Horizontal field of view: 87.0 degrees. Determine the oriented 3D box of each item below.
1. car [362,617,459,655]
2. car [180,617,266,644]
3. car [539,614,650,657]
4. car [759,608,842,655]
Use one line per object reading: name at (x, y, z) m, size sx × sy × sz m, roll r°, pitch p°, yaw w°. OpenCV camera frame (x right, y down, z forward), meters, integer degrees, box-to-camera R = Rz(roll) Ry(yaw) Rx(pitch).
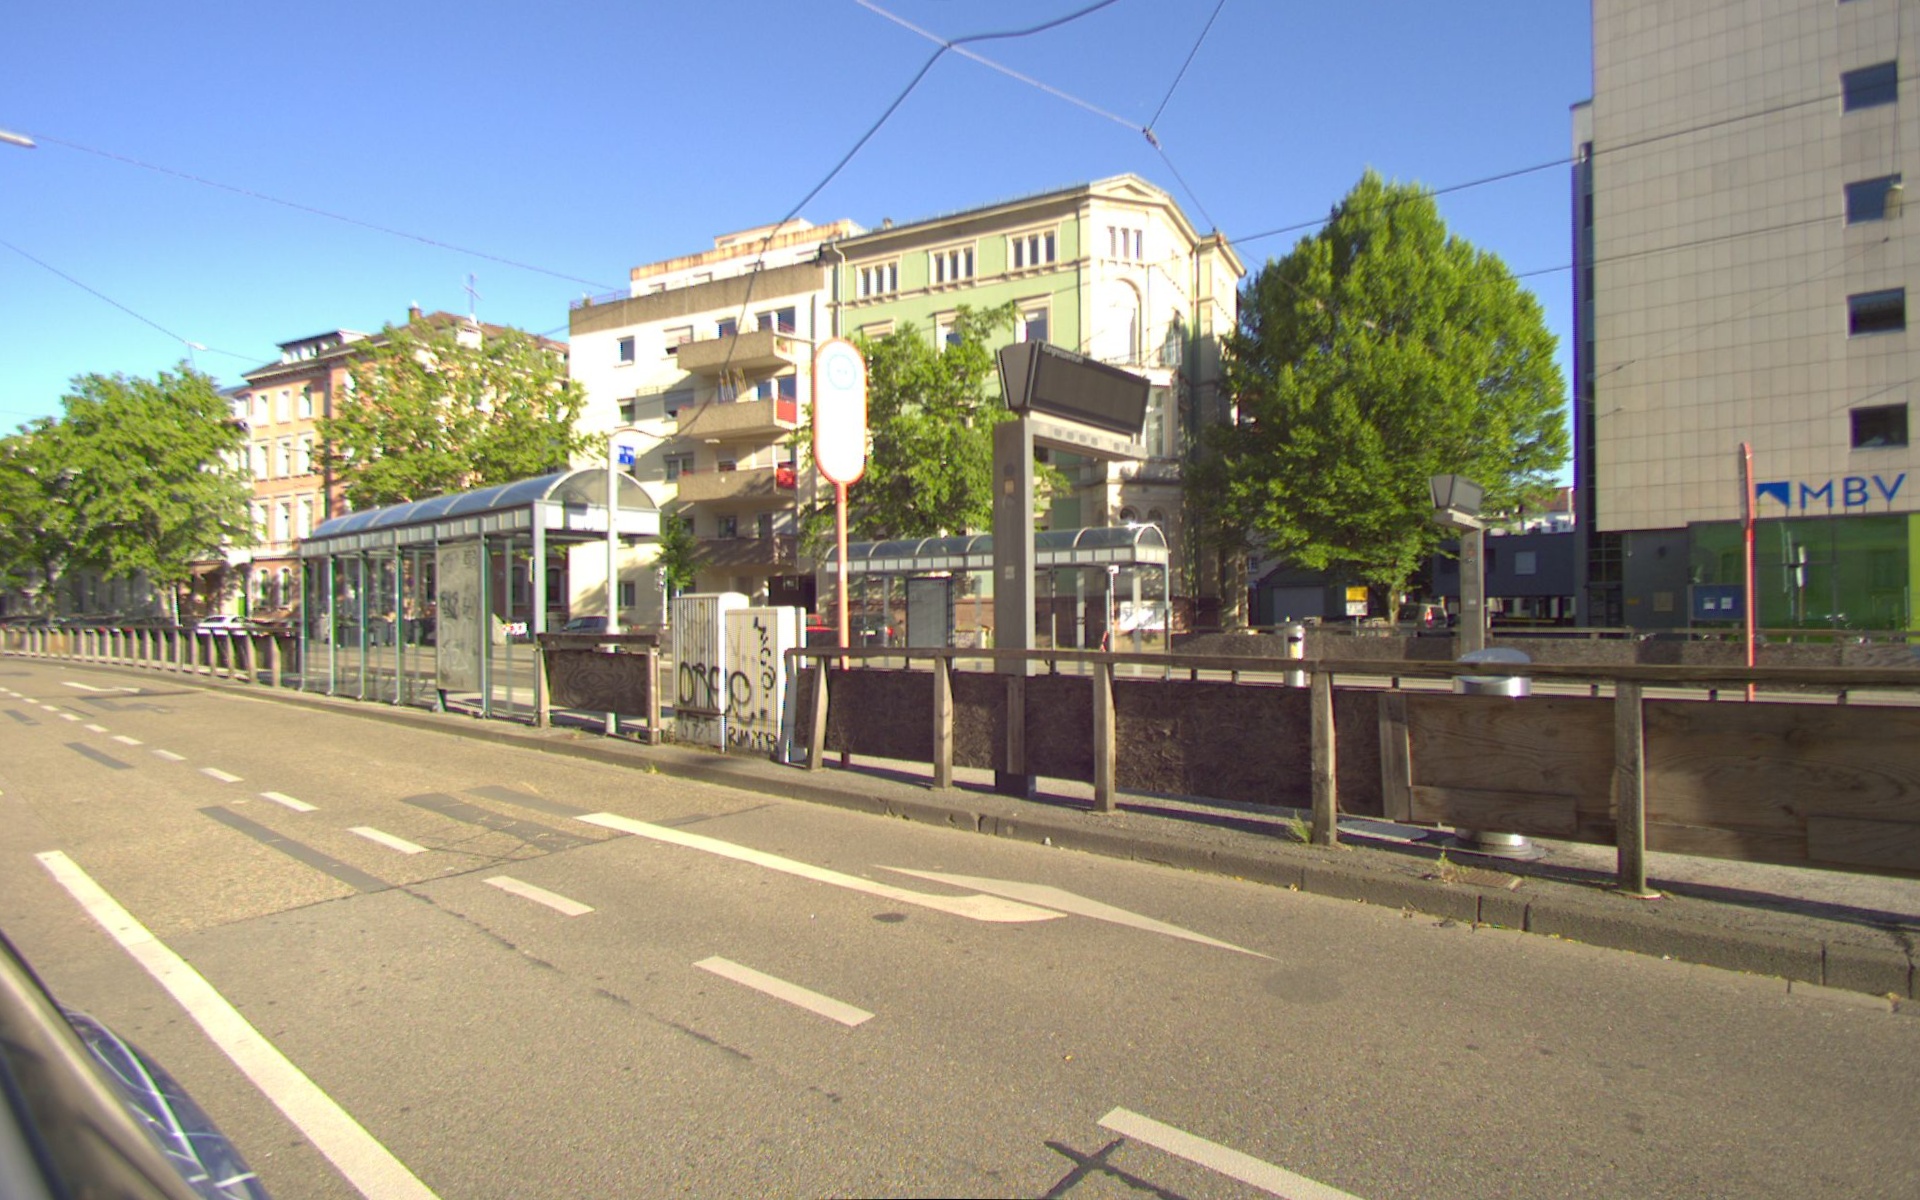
car at (-23.598, 1.528, 43.421) m, size 3.987 × 1.541 × 1.978 m, roll -1°, pitch -2°, yaw 32°
car at (-39.254, 1.586, 53.978) m, size 1.565 × 1.360 × 3.631 m, roll 0°, pitch -1°, yaw 11°
car at (-14.010, 1.363, 38.728) m, size 3.987 × 1.542 × 1.978 m, roll -1°, pitch -3°, yaw 32°
car at (-7.250, 1.419, 46.341) m, size 1.791 × 2.029 × 3.963 m, roll -1°, pitch -1°, yaw 27°
